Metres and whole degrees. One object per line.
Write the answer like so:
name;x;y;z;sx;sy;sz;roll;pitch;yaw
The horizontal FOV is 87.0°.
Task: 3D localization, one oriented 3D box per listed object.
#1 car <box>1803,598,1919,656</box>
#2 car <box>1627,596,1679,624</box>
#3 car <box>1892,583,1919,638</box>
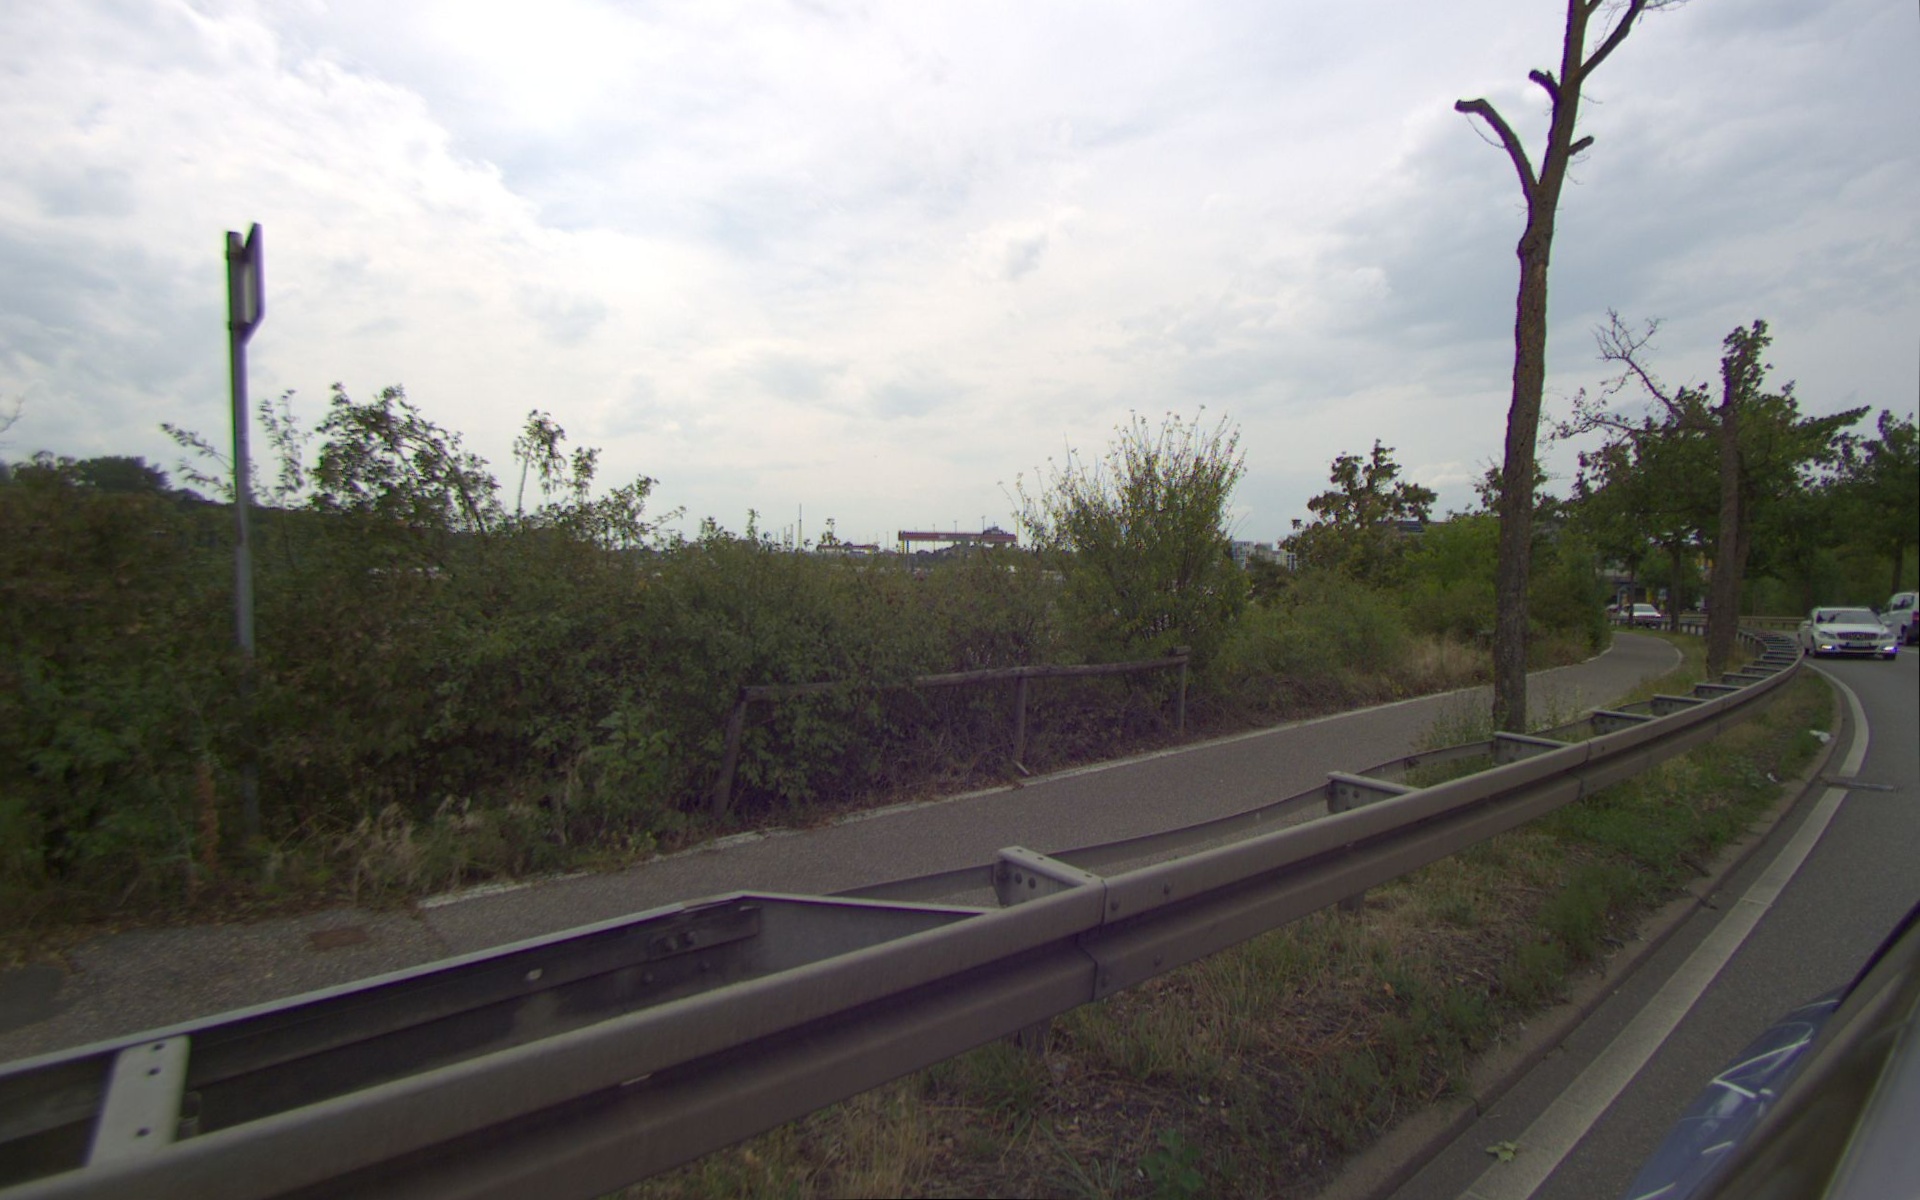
car;25.737;0.723;29.036;1.925;1.475;3.839;2;1;33
car;44.816;0.645;65.552;1.941;1.726;4.397;0;-1;23
car;34.302;0.385;35.168;1.948;1.909;4.382;0;-1;31
